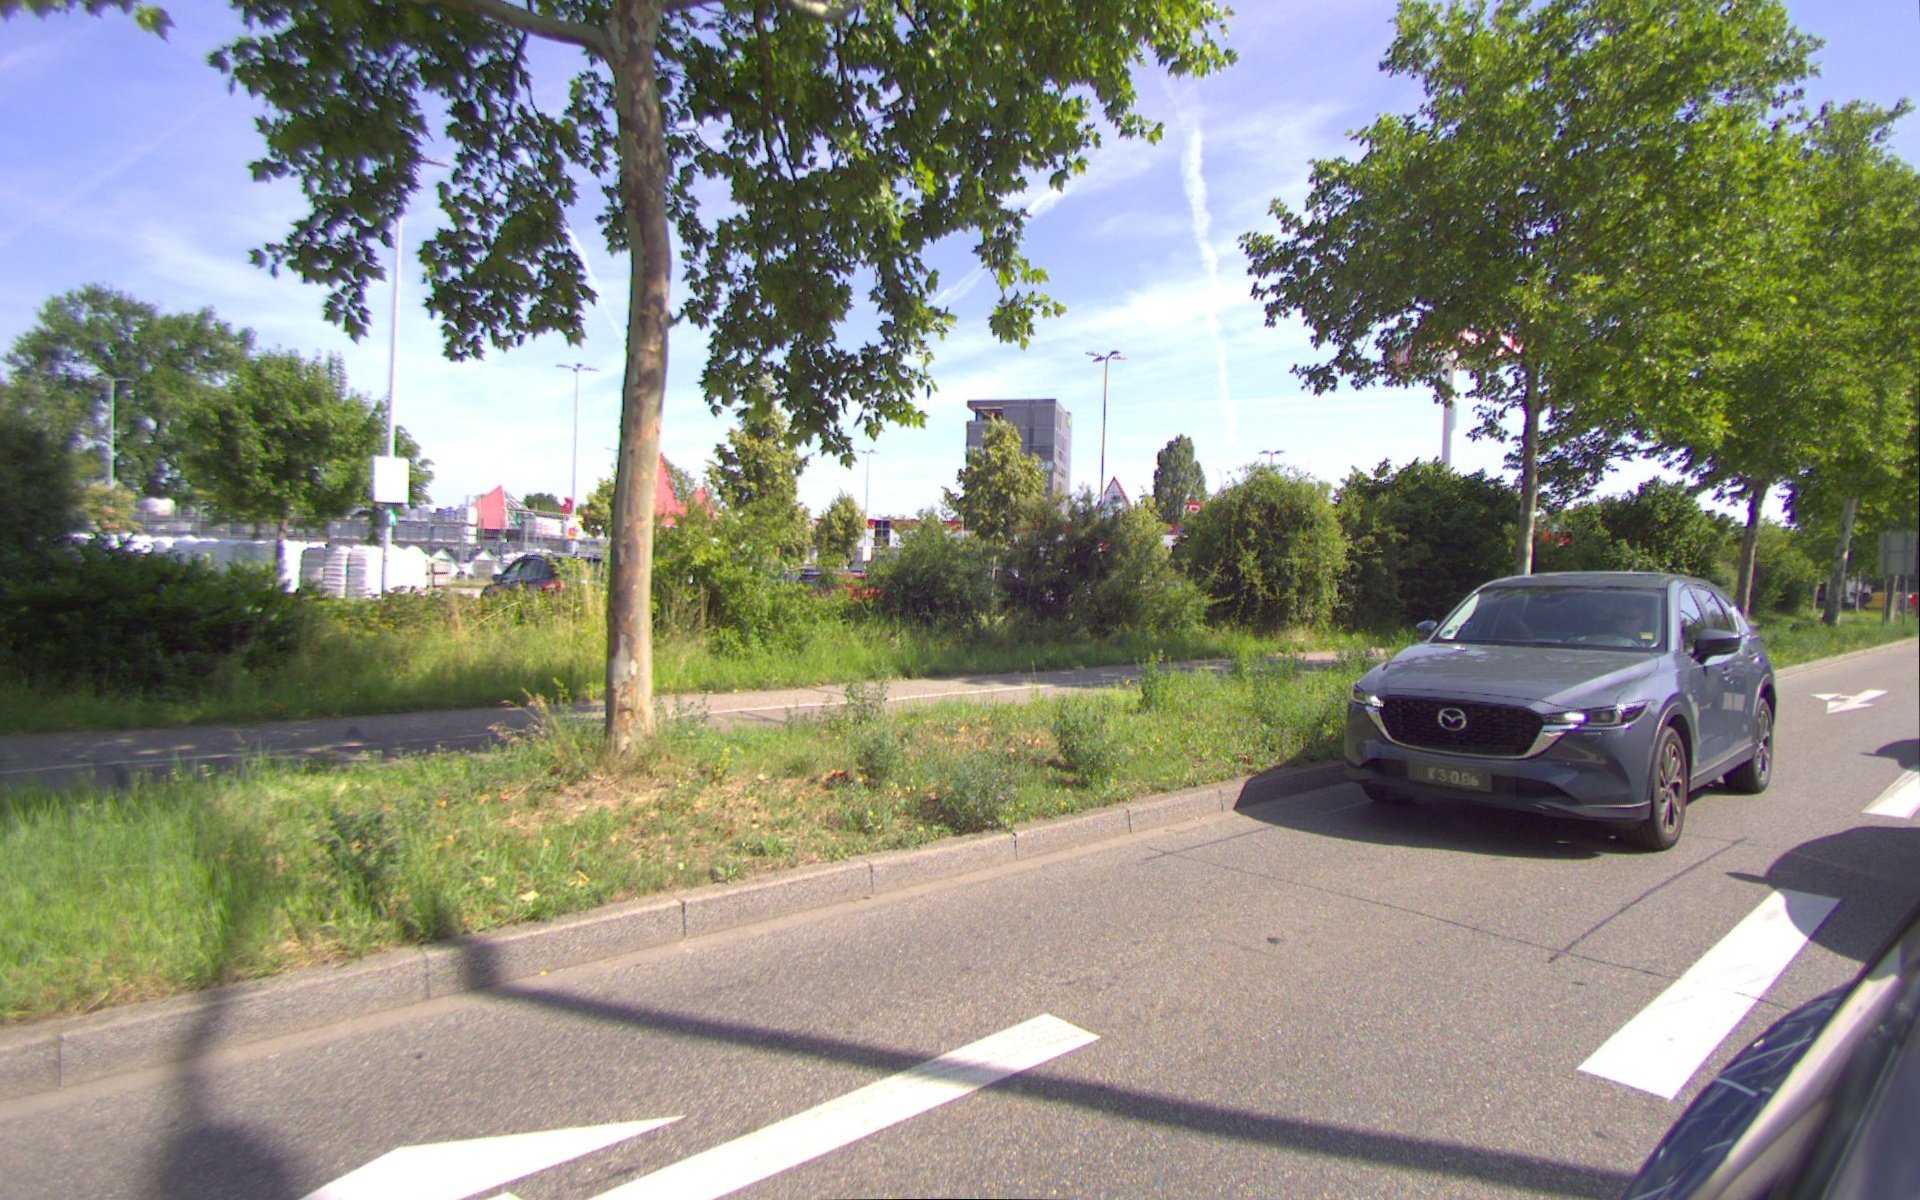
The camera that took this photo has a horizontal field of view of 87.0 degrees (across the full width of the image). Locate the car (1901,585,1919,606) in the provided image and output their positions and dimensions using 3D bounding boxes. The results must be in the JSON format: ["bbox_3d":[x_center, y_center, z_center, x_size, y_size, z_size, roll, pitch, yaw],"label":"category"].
[{"bbox_3d":[111.104,-0.515,116.877,2.047,2.439,5.947,2,2,28],"label":"car"}]

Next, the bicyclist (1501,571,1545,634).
[{"bbox_3d":[15.135,0.056,27.202,0.984,1.651,0.686,0,2,-41],"label":"bicyclist"}]

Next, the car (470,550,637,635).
[{"bbox_3d":[-8.632,-0.214,21.355,3.850,1.604,1.821,3,2,43],"label":"car"}]

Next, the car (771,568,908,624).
[{"bbox_3d":[-3.226,-0.147,26.818,3.553,1.316,1.740,3,2,43],"label":"car"}]

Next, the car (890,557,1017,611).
[{"bbox_3d":[-0.186,-0.527,32.589,3.801,1.604,1.844,2,2,11],"label":"car"}]

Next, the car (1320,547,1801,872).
[{"bbox_3d":[4.556,0.549,7.364,4.418,1.680,1.768,0,0,-42],"label":"car"}]
